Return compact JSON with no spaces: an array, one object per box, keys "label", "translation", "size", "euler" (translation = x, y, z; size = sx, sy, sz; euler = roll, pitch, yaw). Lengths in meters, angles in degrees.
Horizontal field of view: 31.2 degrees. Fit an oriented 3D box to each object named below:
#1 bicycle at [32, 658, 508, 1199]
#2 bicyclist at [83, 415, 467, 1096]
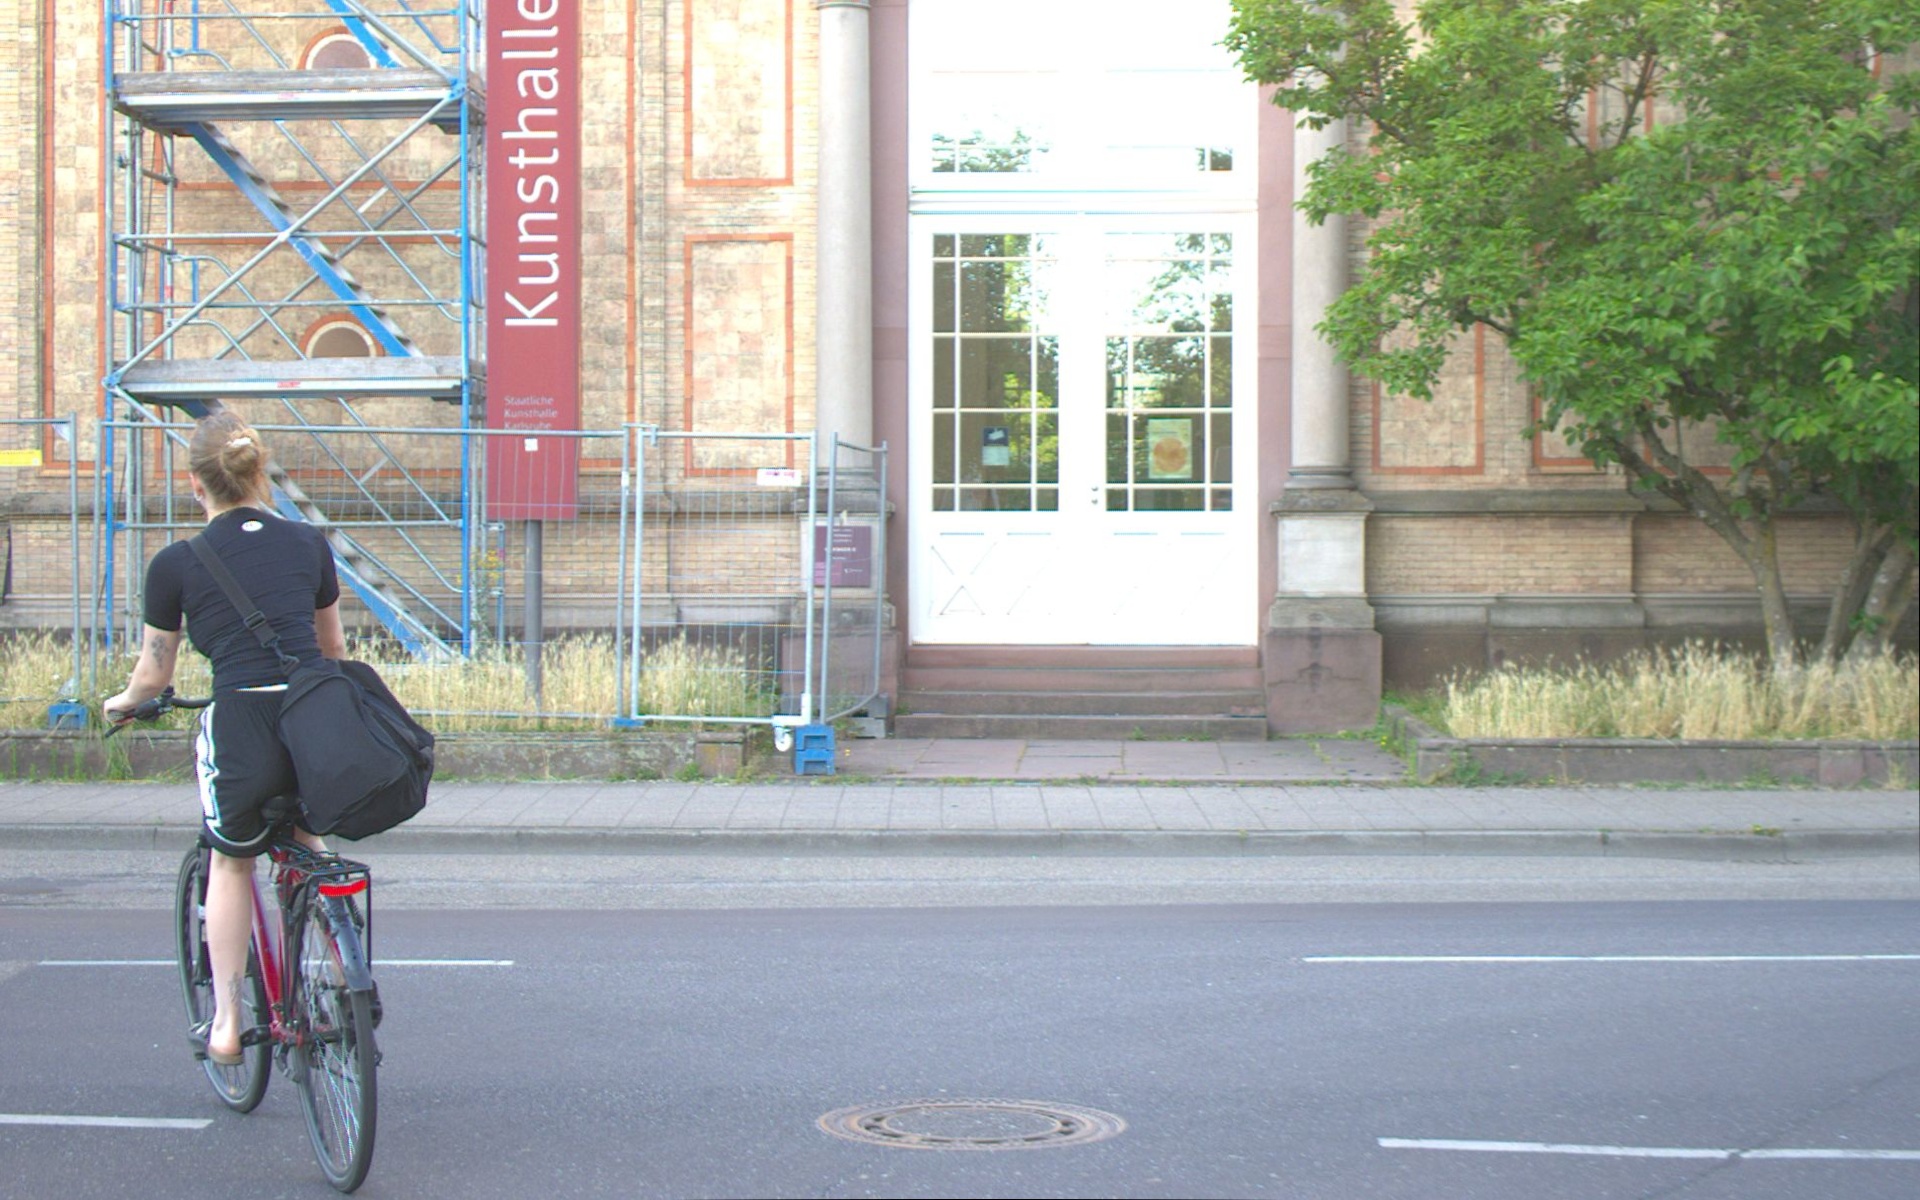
[{"label":"bicycle","translation":[-1.716,0.721,8.272],"size":[0.711,1.152,2.069],"euler":[1,-1,-23]},{"label":"bicyclist","translation":[-1.627,0.348,8.096],"size":[0.716,1.497,0.851],"euler":[1,-1,-23]}]
